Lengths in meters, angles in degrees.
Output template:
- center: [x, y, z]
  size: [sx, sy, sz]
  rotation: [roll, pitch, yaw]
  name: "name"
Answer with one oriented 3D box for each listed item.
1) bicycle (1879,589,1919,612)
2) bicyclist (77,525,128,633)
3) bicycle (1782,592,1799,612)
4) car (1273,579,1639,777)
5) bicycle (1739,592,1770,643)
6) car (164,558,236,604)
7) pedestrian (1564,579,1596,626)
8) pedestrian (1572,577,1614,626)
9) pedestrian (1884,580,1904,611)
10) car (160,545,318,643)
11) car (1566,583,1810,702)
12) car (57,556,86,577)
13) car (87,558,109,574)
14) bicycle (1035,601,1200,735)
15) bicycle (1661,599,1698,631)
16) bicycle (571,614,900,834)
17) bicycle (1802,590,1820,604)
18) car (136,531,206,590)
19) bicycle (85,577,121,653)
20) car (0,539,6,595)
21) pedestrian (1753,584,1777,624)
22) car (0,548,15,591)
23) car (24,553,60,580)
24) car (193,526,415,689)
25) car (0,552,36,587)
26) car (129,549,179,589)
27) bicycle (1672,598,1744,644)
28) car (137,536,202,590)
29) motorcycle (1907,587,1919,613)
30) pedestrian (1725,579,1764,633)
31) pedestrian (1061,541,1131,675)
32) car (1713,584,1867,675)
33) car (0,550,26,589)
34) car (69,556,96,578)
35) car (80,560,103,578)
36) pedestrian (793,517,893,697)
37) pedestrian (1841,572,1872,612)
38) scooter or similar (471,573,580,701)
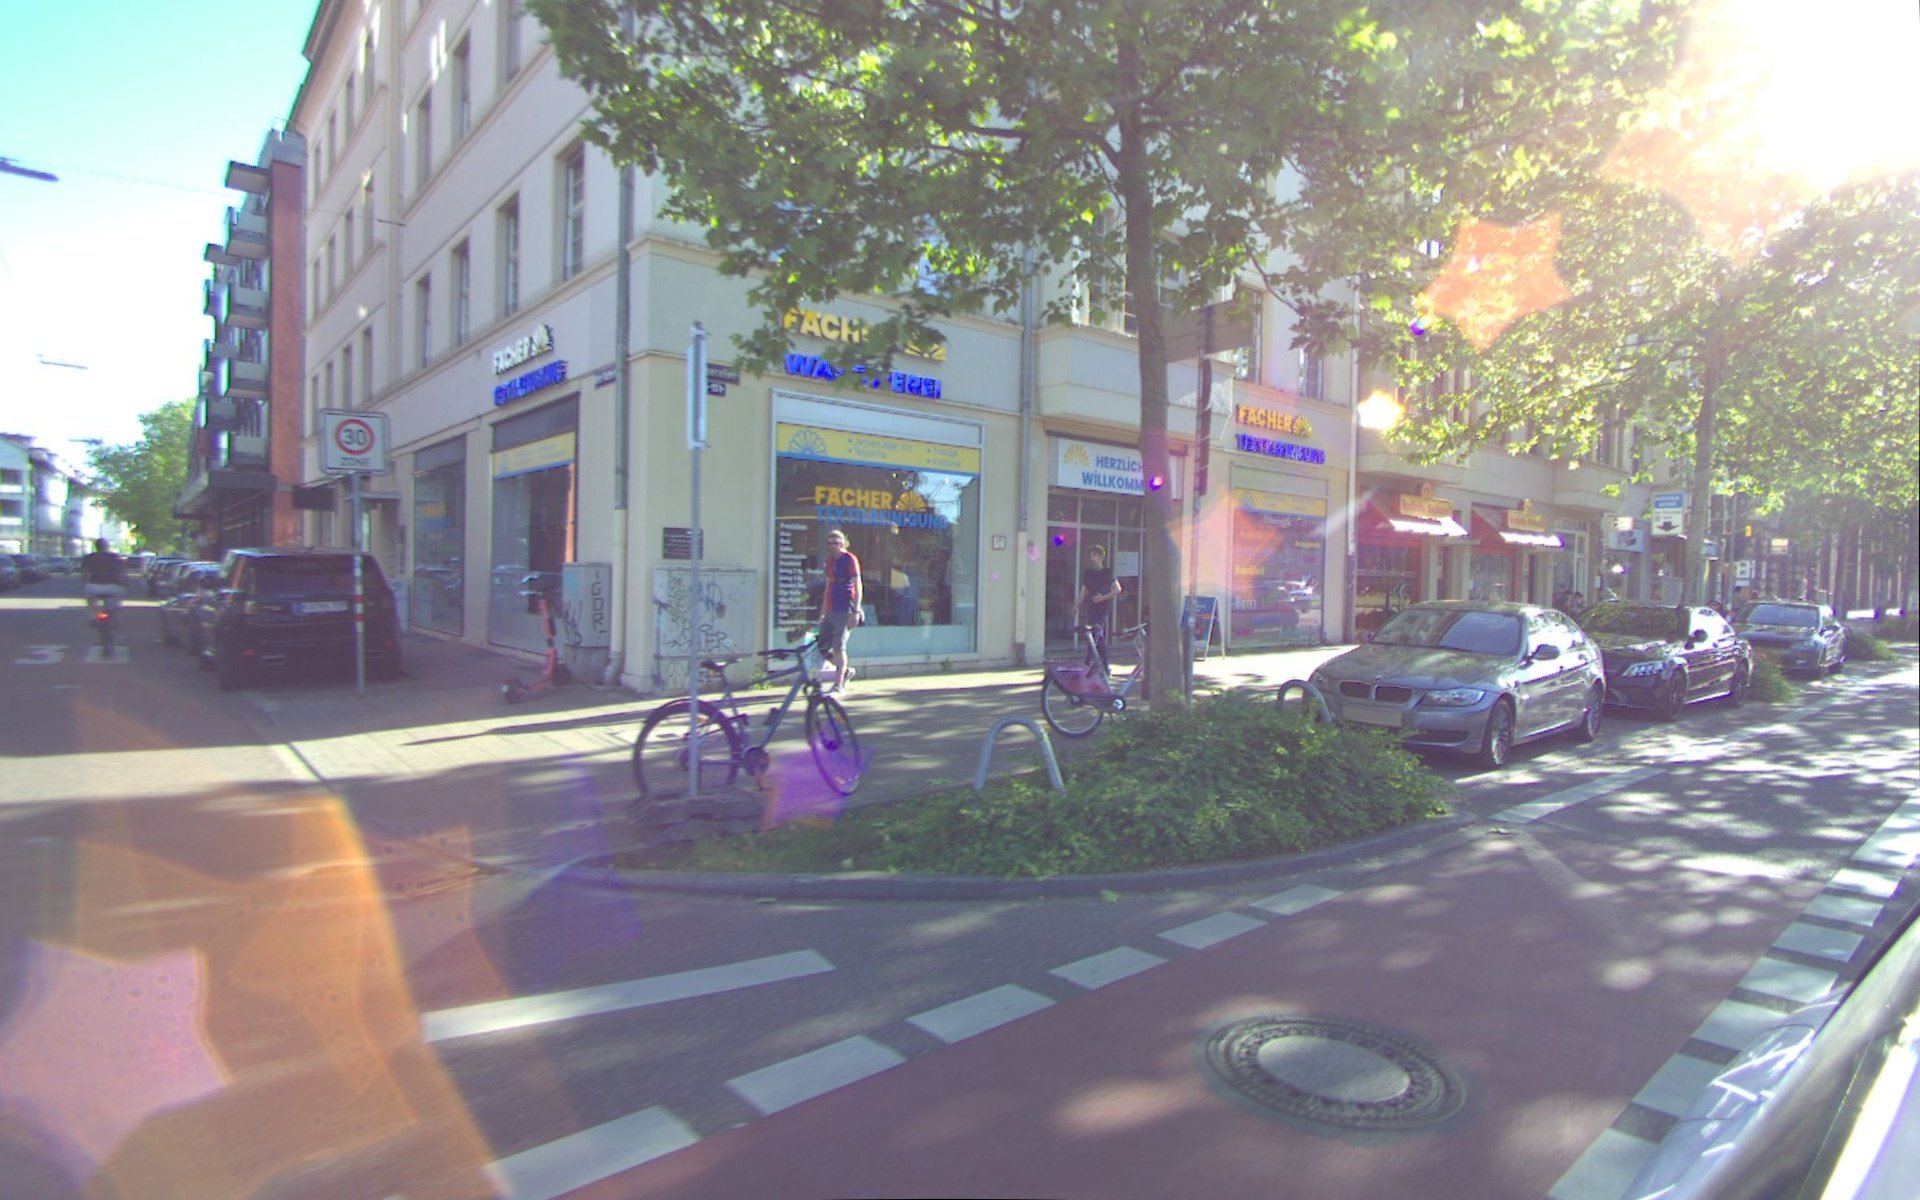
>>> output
- center: [46.182, 0.033, 49.152]
  size: [0.447, 1.107, 2.227]
  rotation: [0, 0, -39]
  name: "bicycle"
- center: [-13.824, -0.336, 16.312]
  size: [0.606, 1.687, 0.666]
  rotation: [0, 1, -42]
  name: "bicyclist"
- center: [43.794, 0.095, 53.367]
  size: [1.850, 1.010, 0.415]
  rotation: [-1, 1, -42]
  name: "bicycle"
- center: [5.170, 0.602, 10.269]
  size: [4.358, 1.574, 1.792]
  rotation: [0, 2, -41]
  name: "car"
- center: [21.233, 0.447, 27.044]
  size: [0.392, 1.229, 1.873]
  rotation: [3, 4, 45]
  name: "bicycle"
- center: [-24.447, -0.594, 32.519]
  size: [1.728, 1.393, 3.996]
  rotation: [-1, 1, -39]
  name: "car"
- center: [17.983, 0.063, 29.336]
  size: [0.806, 1.348, 0.536]
  rotation: [-1, 3, -40]
  name: "pedestrian"
- center: [18.671, 0.036, 29.865]
  size: [0.842, 1.386, 0.787]
  rotation: [-1, 3, -40]
  name: "pedestrian"
- center: [55.608, -0.262, 60.248]
  size: [0.877, 1.850, 0.645]
  rotation: [0, 0, -31]
  name: "pedestrian"
- center: [-13.069, -0.111, 18.248]
  size: [1.965, 1.549, 3.993]
  rotation: [-1, 1, -41]
  name: "car"
- center: [11.189, 0.528, 15.441]
  size: [4.514, 1.528, 2.042]
  rotation: [0, 2, -41]
  name: "car"
- center: [-81.410, -3.080, 92.742]
  size: [1.965, 1.821, 3.923]
  rotation: [-1, 0, -41]
  name: "car"
- center: [-103.230, -4.052, 121.171]
  size: [1.965, 1.821, 3.994]
  rotation: [-1, 0, -41]
  name: "car"
- center: [1.508, 0.596, 9.536]
  size: [1.658, 1.150, 0.489]
  rotation: [0, 1, -35]
  name: "bicycle"
- center: [25.134, 0.502, 35.325]
  size: [2.577, 1.036, 0.491]
  rotation: [0, 1, -42]
  name: "bicycle"
- center: [-1.378, 0.706, 6.680]
  size: [0.580, 1.177, 2.204]
  rotation: [0, 0, 41]
  name: "bicycle"
- center: [49.106, -0.167, 58.401]
  size: [1.634, 0.783, 0.550]
  rotation: [-1, 4, -42]
  name: "bicycle"
- center: [-29.381, -1.425, 37.654]
  size: [1.964, 2.039, 3.995]
  rotation: [-1, 0, -39]
  name: "car"
- center: [-13.887, 0.220, 16.384]
  size: [0.415, 1.151, 1.827]
  rotation: [0, 1, -41]
  name: "bicycle"
- center: [-36.105, -1.180, 36.725]
  size: [1.965, 1.994, 3.994]
  rotation: [-1, 0, -41]
  name: "car"
- center: [33.296, 0.176, 41.856]
  size: [0.553, 1.642, 0.682]
  rotation: [0, 0, -43]
  name: "pedestrian"
- center: [-40.458, -1.225, 41.728]
  size: [1.965, 1.702, 3.994]
  rotation: [-1, 1, -41]
  name: "car"
- center: [-70.731, -2.526, 78.028]
  size: [1.965, 1.988, 3.994]
  rotation: [-1, 0, -41]
  name: "car"
- center: [-9.035, 0.002, 13.757]
  size: [1.965, 1.838, 4.533]
  rotation: [-1, 2, -40]
  name: "car"
- center: [-50.127, -1.573, 53.345]
  size: [1.965, 1.789, 3.994]
  rotation: [-1, 0, -41]
  name: "car"
- center: [-42.672, -1.612, 53.545]
  size: [1.965, 2.039, 3.995]
  rotation: [-1, 2, -40]
  name: "car"
- center: [19.942, 0.561, 26.989]
  size: [1.834, 1.222, 0.387]
  rotation: [0, 1, -12]
  name: "bicycle"
- center: [-31.994, -1.457, 40.952]
  size: [1.964, 2.039, 3.996]
  rotation: [-1, 0, -39]
  name: "car"
- center: [46.123, -0.005, 47.849]
  size: [0.507, 1.246, 1.951]
  rotation: [0, 0, -43]
  name: "motorcycle"
- center: [25.734, 0.179, 33.201]
  size: [0.901, 1.726, 0.860]
  rotation: [0, 2, -43]
  name: "pedestrian"
- center: [1.834, 0.095, 13.609]
  size: [0.757, 1.732, 0.559]
  rotation: [0, 1, -41]
  name: "pedestrian"
- center: [16.461, 0.520, 20.022]
  size: [3.735, 1.520, 1.698]
  rotation: [0, 4, -41]
  name: "car"
- center: [-43.673, -1.349, 45.752]
  size: [1.965, 1.727, 3.994]
  rotation: [-1, 1, -41]
  name: "car"
- center: [-86.984, -3.229, 100.381]
  size: [1.965, 2.039, 3.994]
  rotation: [-1, 0, -41]
  name: "car"
- center: [-96.780, -3.448, 112.772]
  size: [1.965, 1.930, 3.994]
  rotation: [-1, 0, -41]
  name: "car"
- center: [-1.317, 0.058, 11.398]
  size: [0.848, 1.923, 0.715]
  rotation: [0, 2, -41]
  name: "pedestrian"
- center: [47.491, -0.427, 53.594]
  size: [1.028, 2.039, 1.090]
  rotation: [0, 0, -40]
  name: "pedestrian"
- center: [-4.667, 0.366, 10.932]
  size: [0.377, 1.302, 1.199]
  rotation: [0, 0, 19]
  name: "scooter or similar"
